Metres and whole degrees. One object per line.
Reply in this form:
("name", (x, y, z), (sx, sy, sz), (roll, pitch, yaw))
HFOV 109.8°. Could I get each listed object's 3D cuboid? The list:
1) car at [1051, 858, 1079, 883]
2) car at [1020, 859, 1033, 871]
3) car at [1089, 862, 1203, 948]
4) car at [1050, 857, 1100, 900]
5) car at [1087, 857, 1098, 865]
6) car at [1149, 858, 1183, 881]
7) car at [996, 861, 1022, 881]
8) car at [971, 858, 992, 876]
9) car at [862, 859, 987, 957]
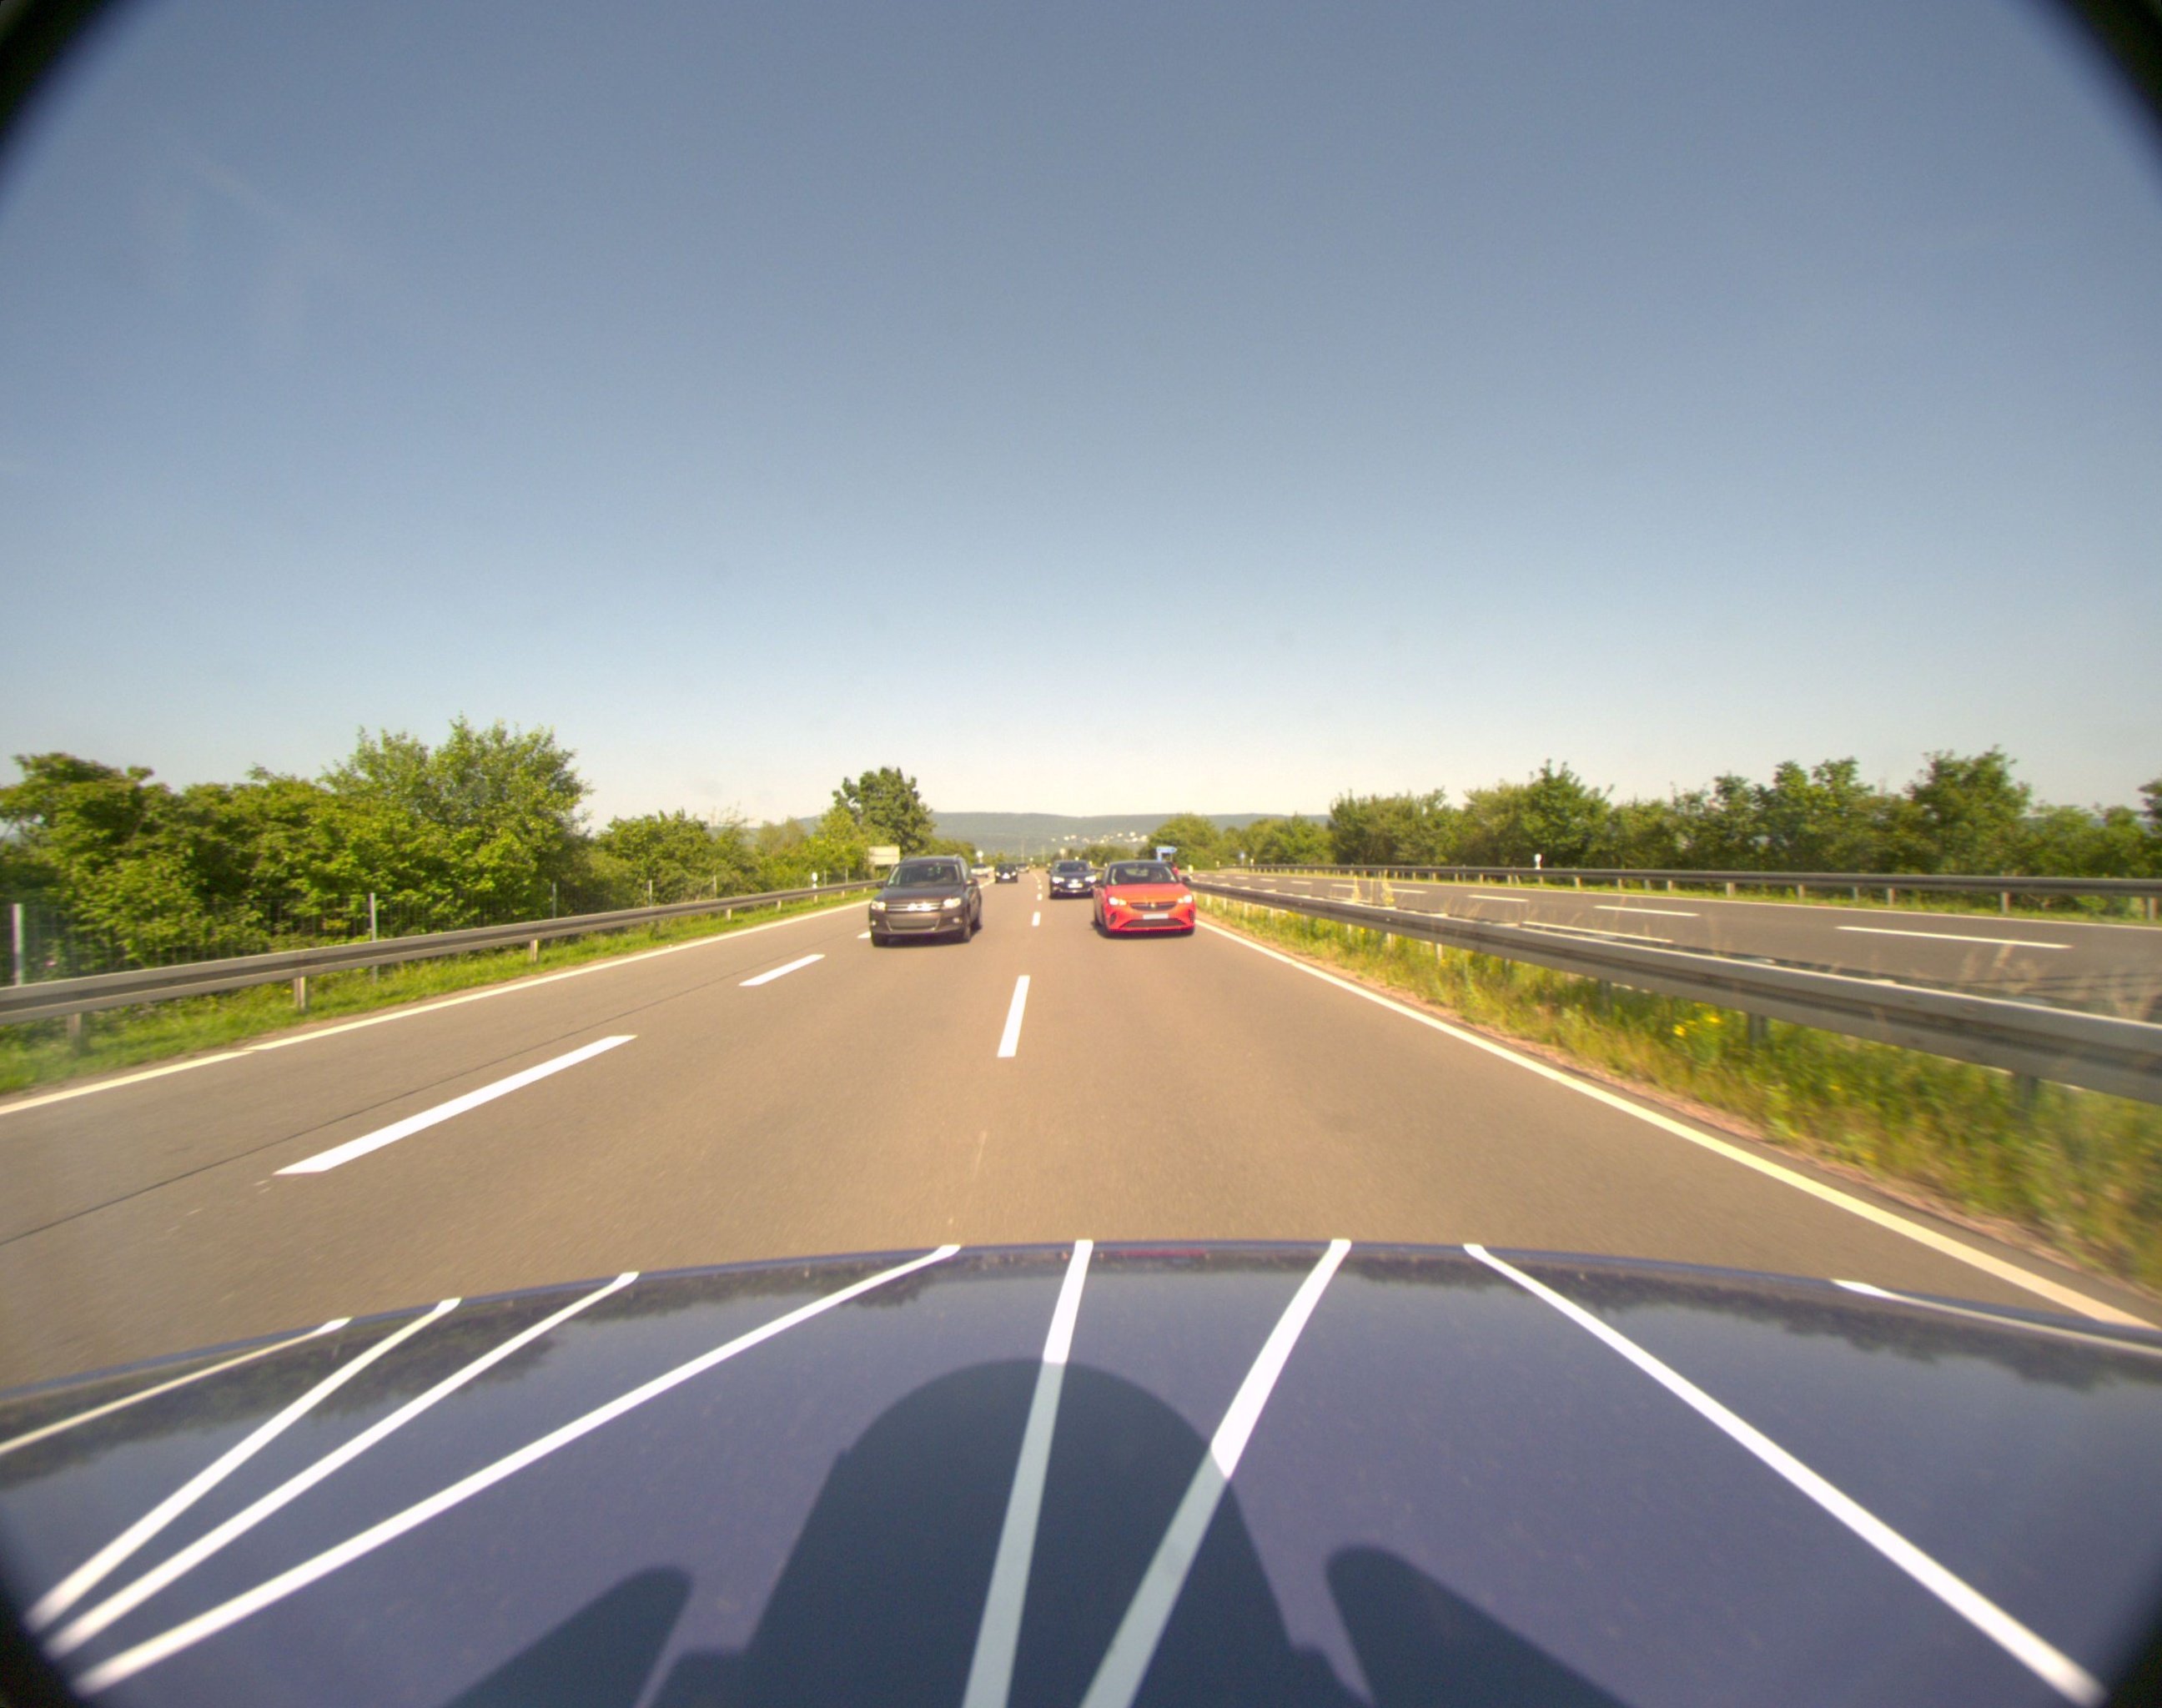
("car", (-1.049, 1.021, 49.036), (1.652, 1.403, 3.774), (-2, 1, -1))
("car", (-7.716, 1.515, 107.371), (1.768, 1.652, 3.998), (-3, 0, -4))
("car", (1.166, 0.917, 15.620), (1.714, 1.428, 4.410), (-2, 0, -3))
("car", (-0.271, 0.942, 30.166), (1.788, 1.524, 4.375), (-2, -1, -1))
("car", (2.231, 1.372, 150.840), (1.647, 1.565, 4.263), (-3, 0, -4))
("car", (5.972, 1.058, 53.725), (1.715, 1.477, 4.264), (-3, 0, -3))
("car", (-5.132, 1.196, 54.486), (1.601, 1.241, 3.999), (-3, 0, -3))
("car", (-10.400, 1.326, 79.278), (1.865, 1.656, 3.996), (-3, 0, -10))
("car", (-3.028, 0.970, 15.520), (1.790, 1.637, 4.147), (-2, 0, -2))
